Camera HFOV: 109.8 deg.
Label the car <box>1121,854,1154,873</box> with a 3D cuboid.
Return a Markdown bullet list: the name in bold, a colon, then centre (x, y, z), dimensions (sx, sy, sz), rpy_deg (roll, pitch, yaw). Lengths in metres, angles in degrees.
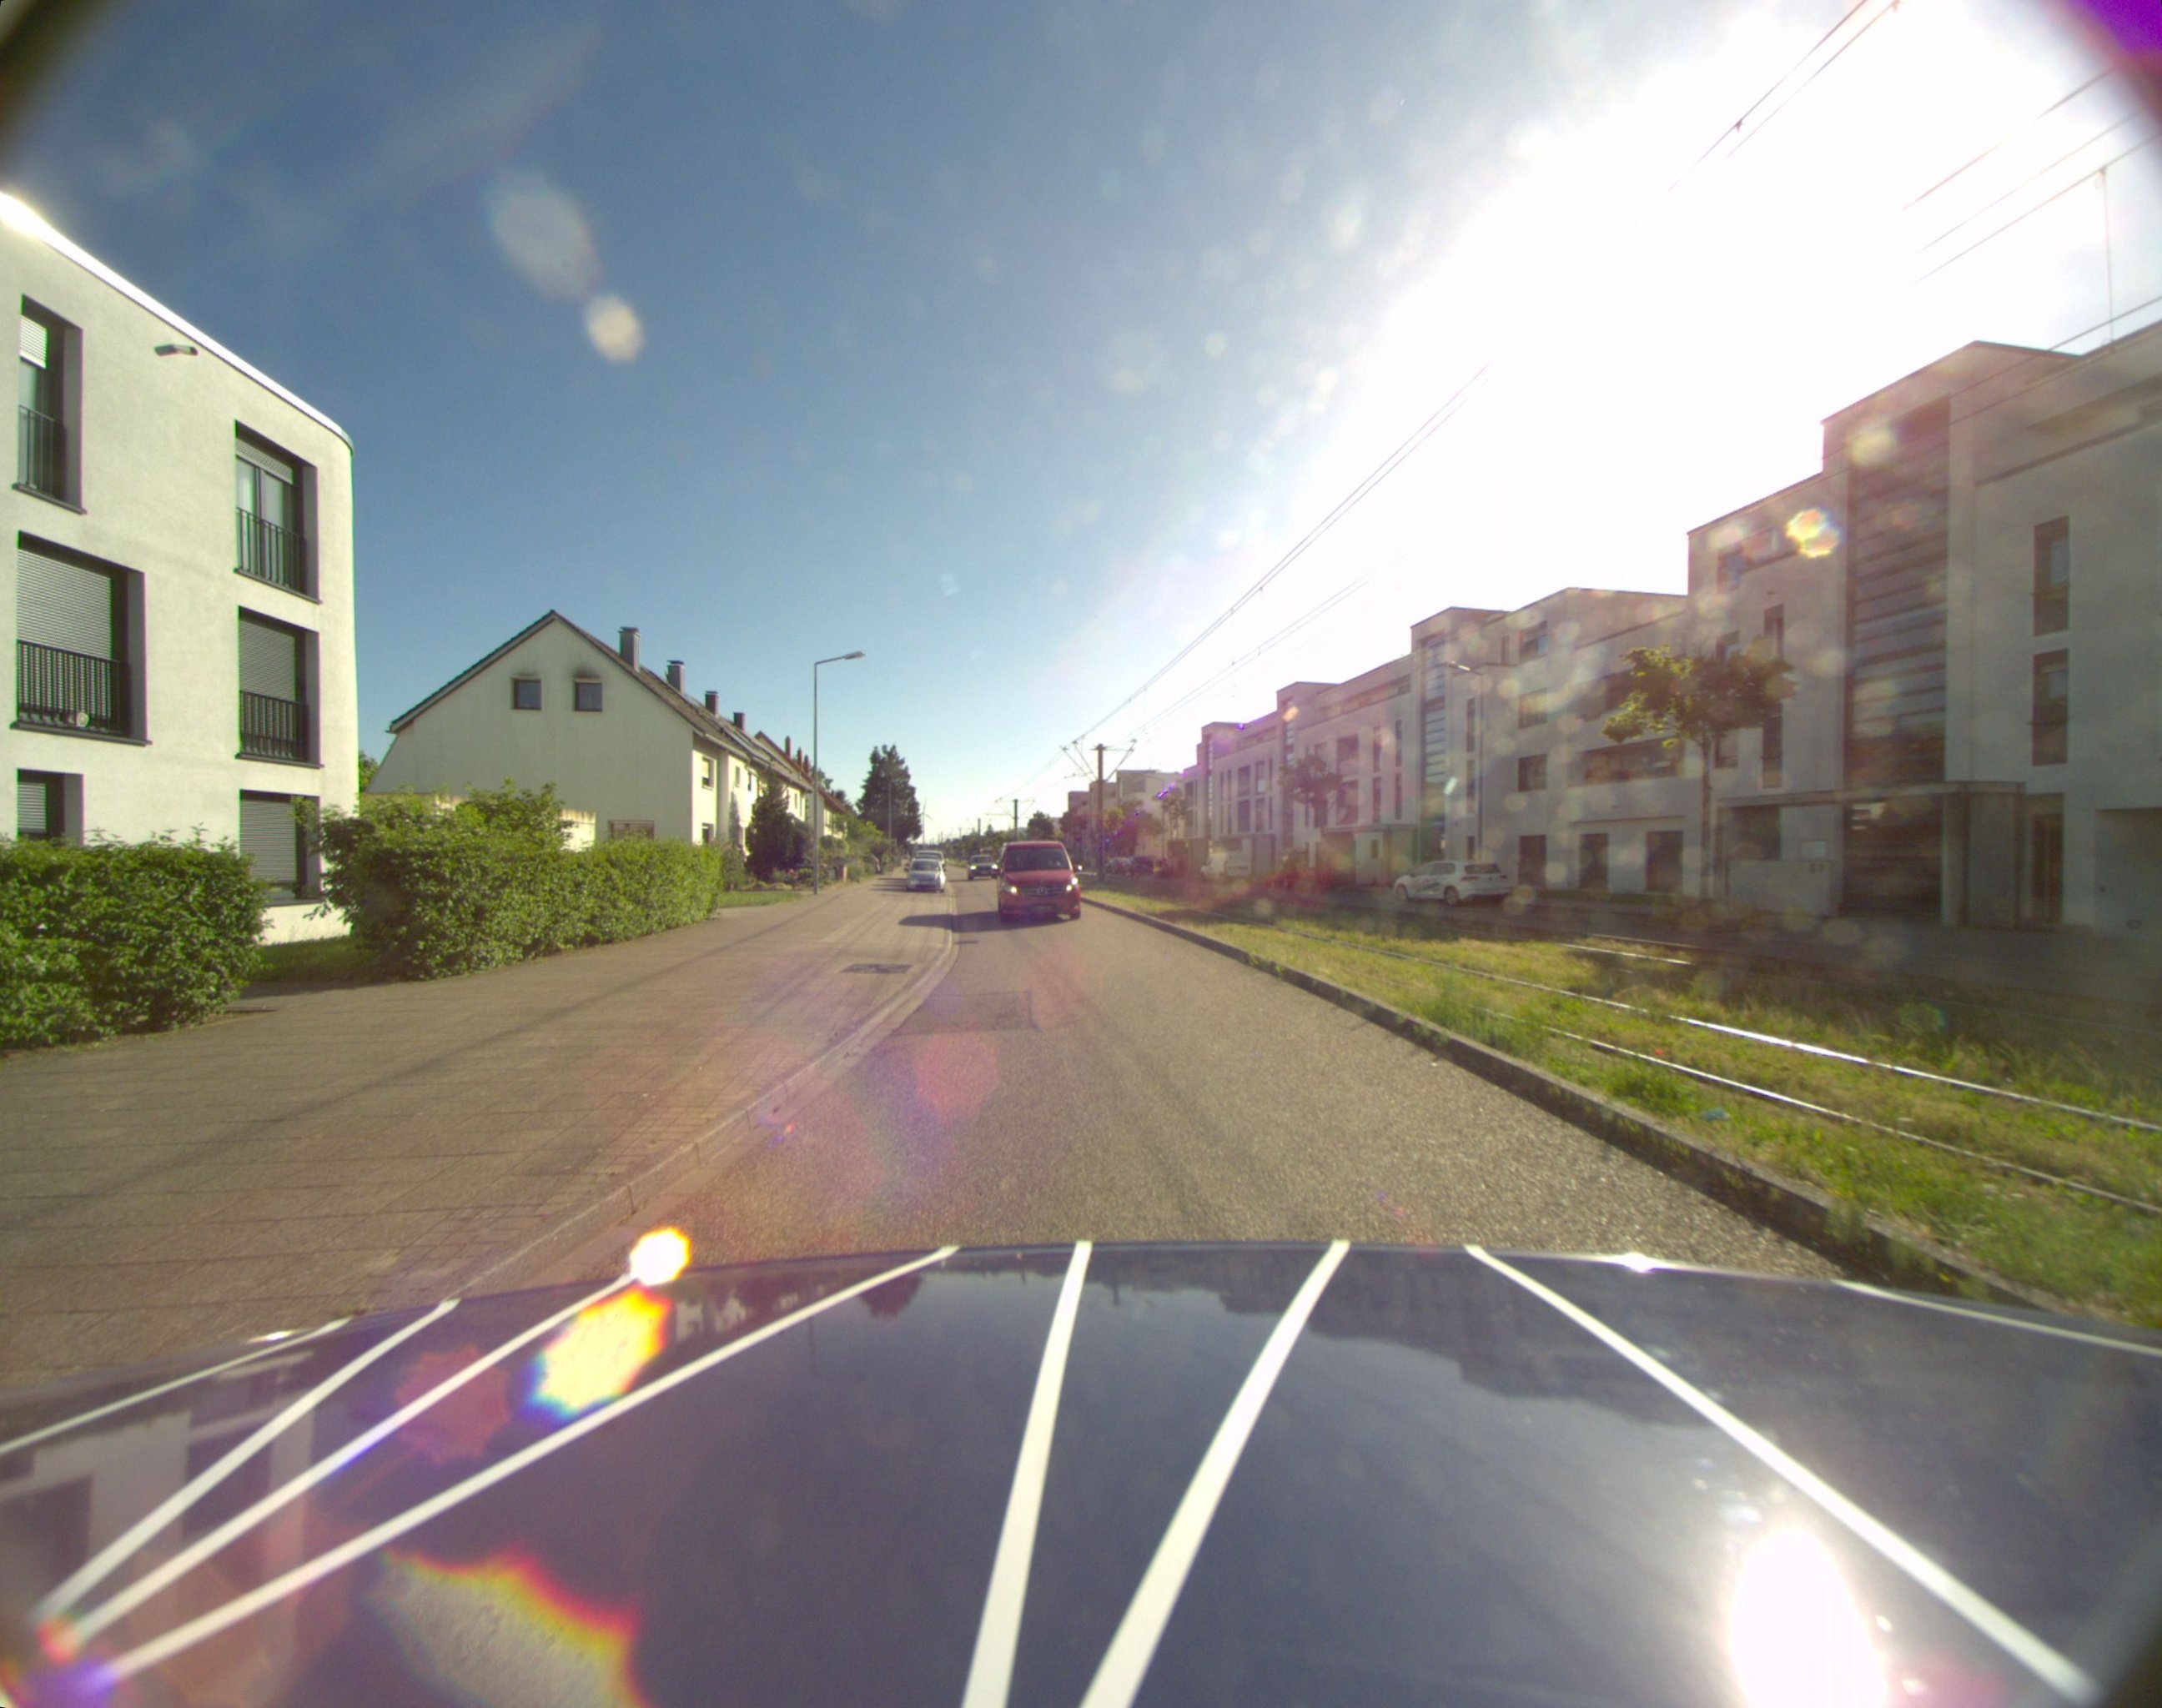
- **car**: centre (4.781, 0.789, 64.661), dimensions (1.767, 1.590, 4.153), rpy_deg (-2, 0, -11)

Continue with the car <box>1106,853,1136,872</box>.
- **car**: centre (3.668, 0.772, 70.194), dimensions (1.767, 1.590, 4.153), rpy_deg (-2, 0, -11)

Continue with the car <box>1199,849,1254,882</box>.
- **car**: centre (8.592, 0.655, 45.312), dimensions (1.767, 1.859, 4.153), rpy_deg (-2, 0, -11)

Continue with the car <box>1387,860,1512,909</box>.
- **car**: centre (12.087, 0.932, 25.220), dimensions (1.522, 1.424, 4.153), rpy_deg (-2, 0, -11)

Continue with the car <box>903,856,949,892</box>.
- **car**: centre (-6.911, 0.864, 34.155), dimensions (1.701, 1.466, 4.010), rpy_deg (2, 0, -8)

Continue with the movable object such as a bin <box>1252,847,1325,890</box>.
- **movable object such as a bin**: centre (10.118, 0.664, 37.337), dimensions (1.767, 1.926, 4.153), rpy_deg (-2, 0, -11)

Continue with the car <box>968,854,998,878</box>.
- **car**: centre (-6.570, 0.765, 50.824), dimensions (1.894, 1.506, 3.751), rpy_deg (2, 0, -8)

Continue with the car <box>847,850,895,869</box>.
- **car**: centre (-19.825, 0.491, 71.854), dimensions (3.999, 1.674, 1.999), rpy_deg (-2, 0, -5)

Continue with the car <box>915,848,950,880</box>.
- **car**: centre (-9.543, 0.644, 49.028), dimensions (1.894, 1.951, 4.010), rpy_deg (2, 0, -8)

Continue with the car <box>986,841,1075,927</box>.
- **car**: centre (-1.271, 0.696, 20.308), dimensions (1.980, 1.922, 5.203), rpy_deg (-2, 0, -2)

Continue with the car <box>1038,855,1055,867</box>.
- **car**: centre (-4.975, 0.966, 109.129), dimensions (1.767, 1.590, 4.153), rpy_deg (-2, 0, -11)

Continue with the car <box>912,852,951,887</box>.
- **car**: centre (-7.759, 0.756, 39.617), dimensions (1.701, 1.692, 4.010), rpy_deg (2, 0, -8)
